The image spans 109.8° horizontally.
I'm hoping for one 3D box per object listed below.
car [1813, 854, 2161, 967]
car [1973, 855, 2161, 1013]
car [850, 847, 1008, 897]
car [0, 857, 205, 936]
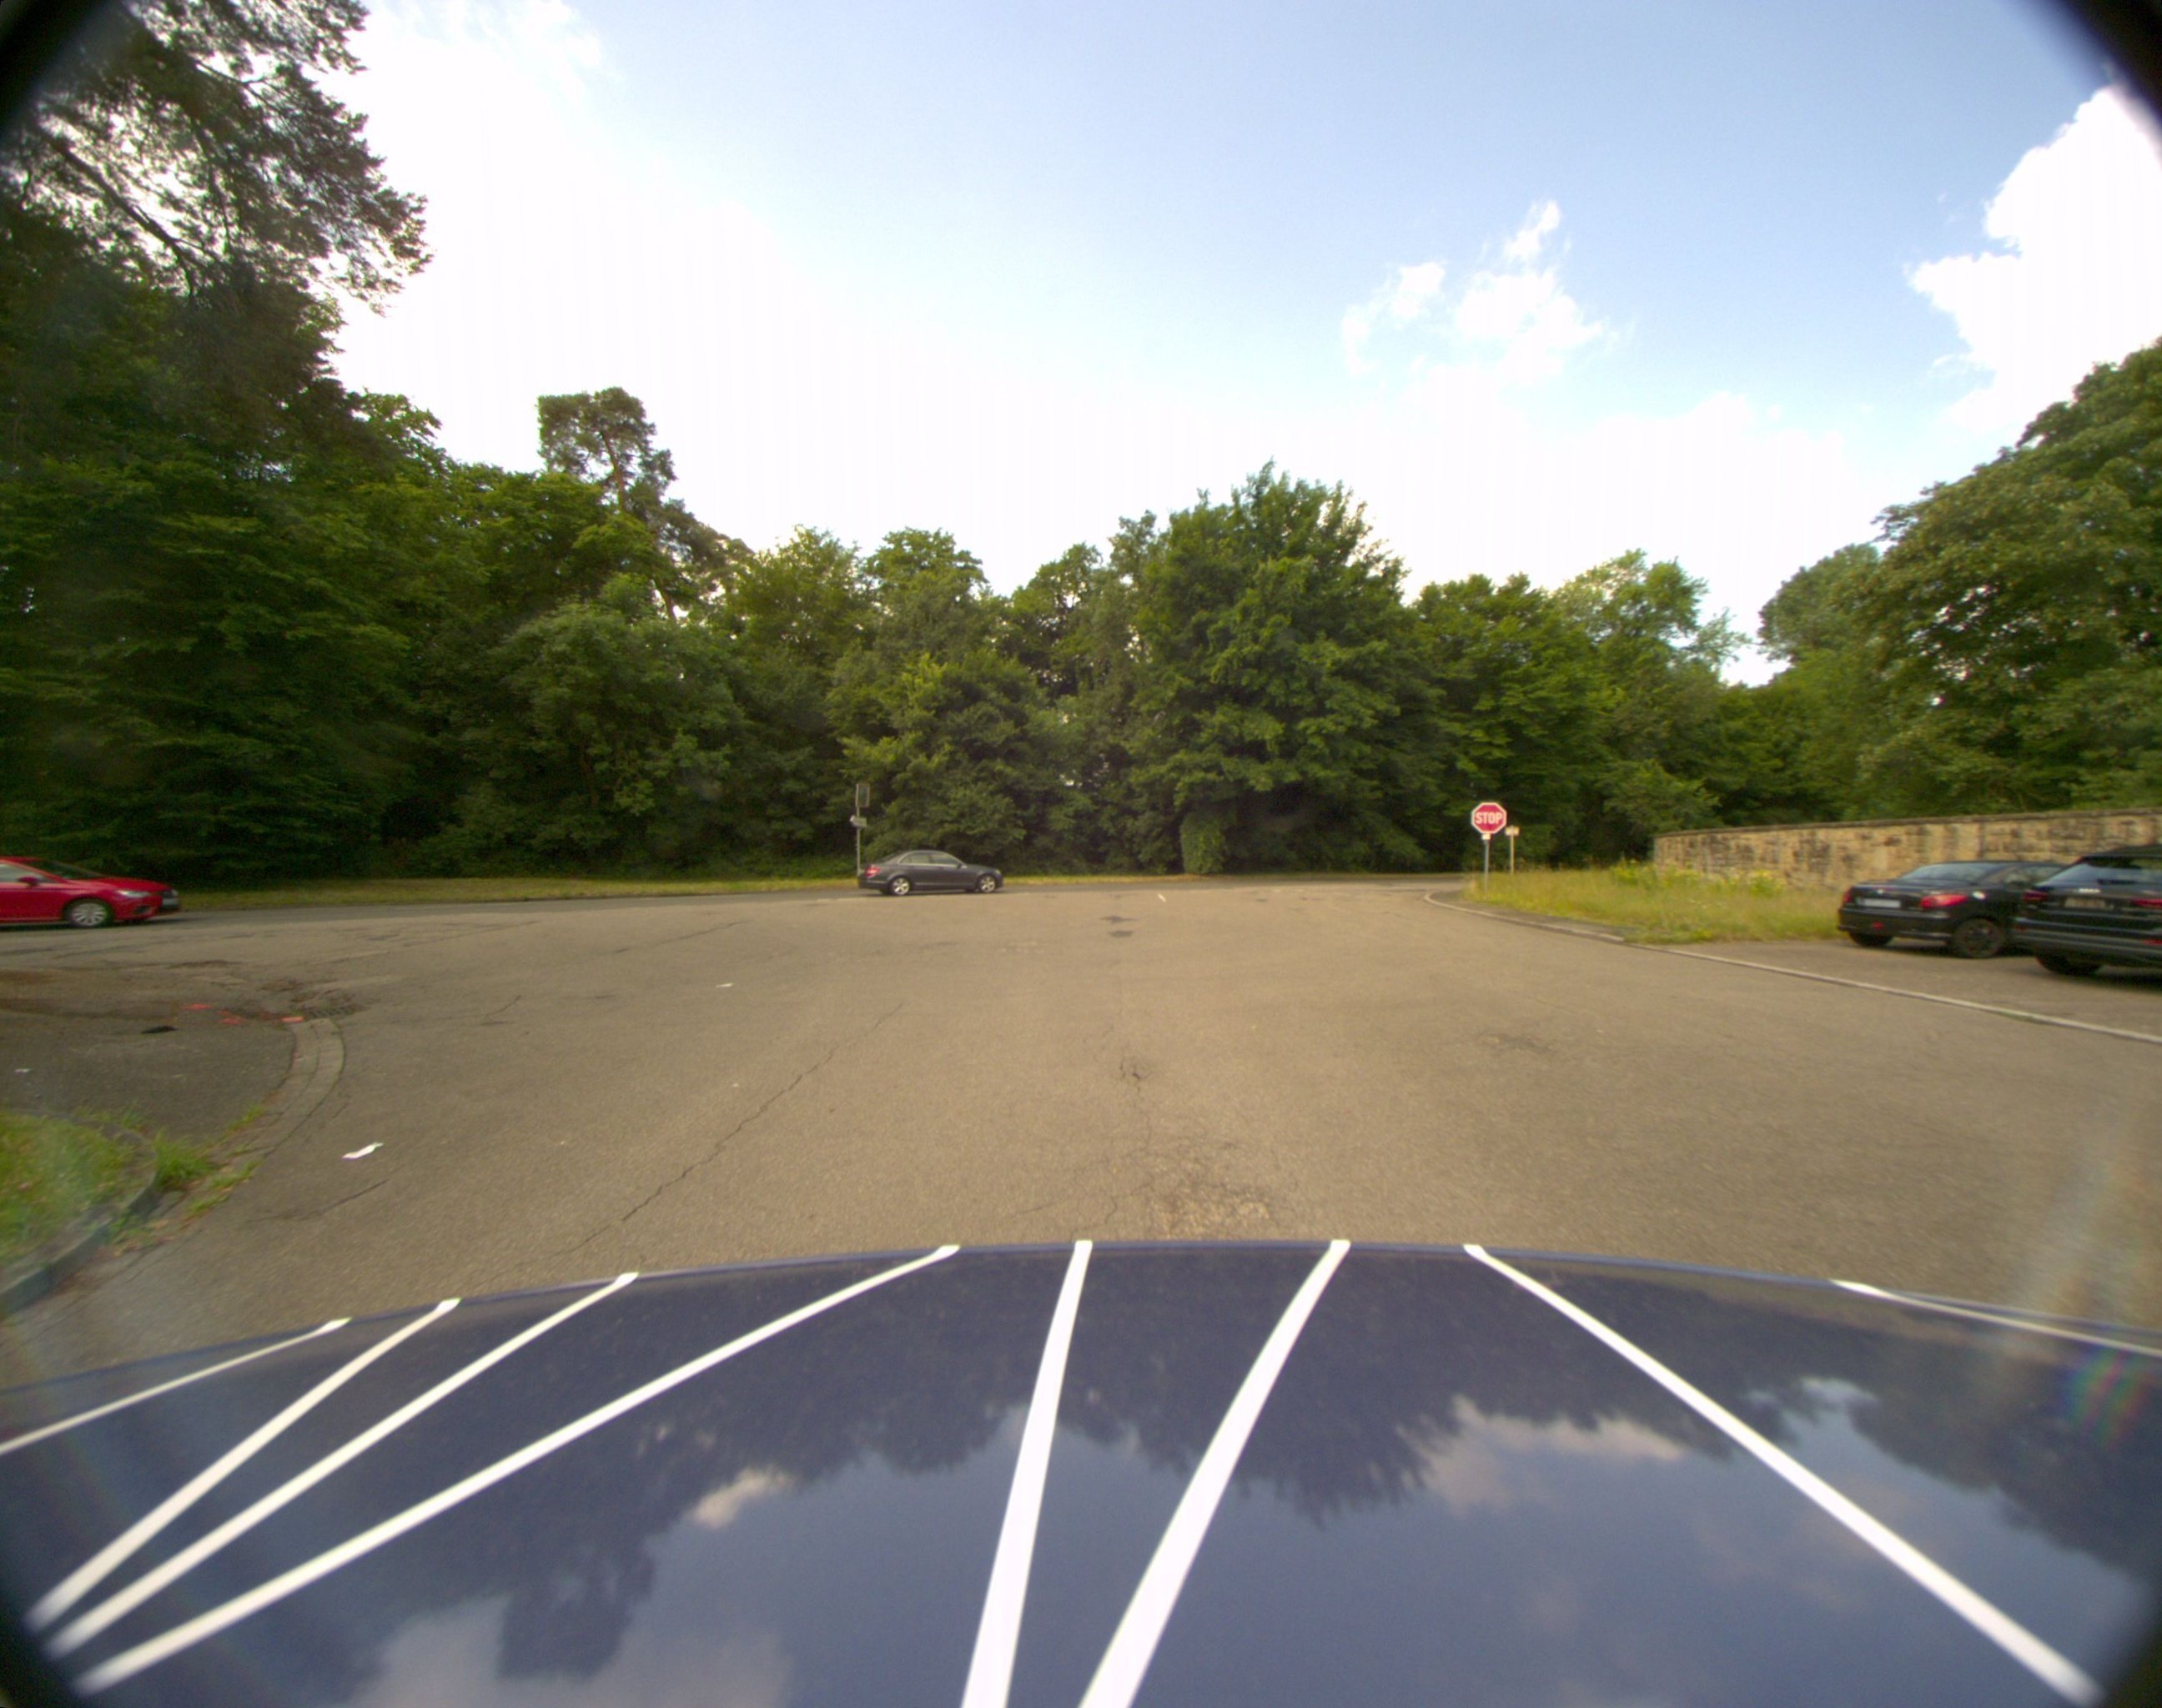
[{"bbox_3d":[13.765,0.783,11.194,3.995,1.433,1.880,-1,1,5],"label":"car"},{"bbox_3d":[13.099,0.795,8.419,3.995,1.537,1.900,-1,1,5],"label":"car"},{"bbox_3d":[-4.804,0.545,24.071,4.536,1.455,1.962,0,0,-28],"label":"car"},{"bbox_3d":[-20.936,0.808,15.085,4.211,1.456,1.995,0,1,-32],"label":"car"}]
